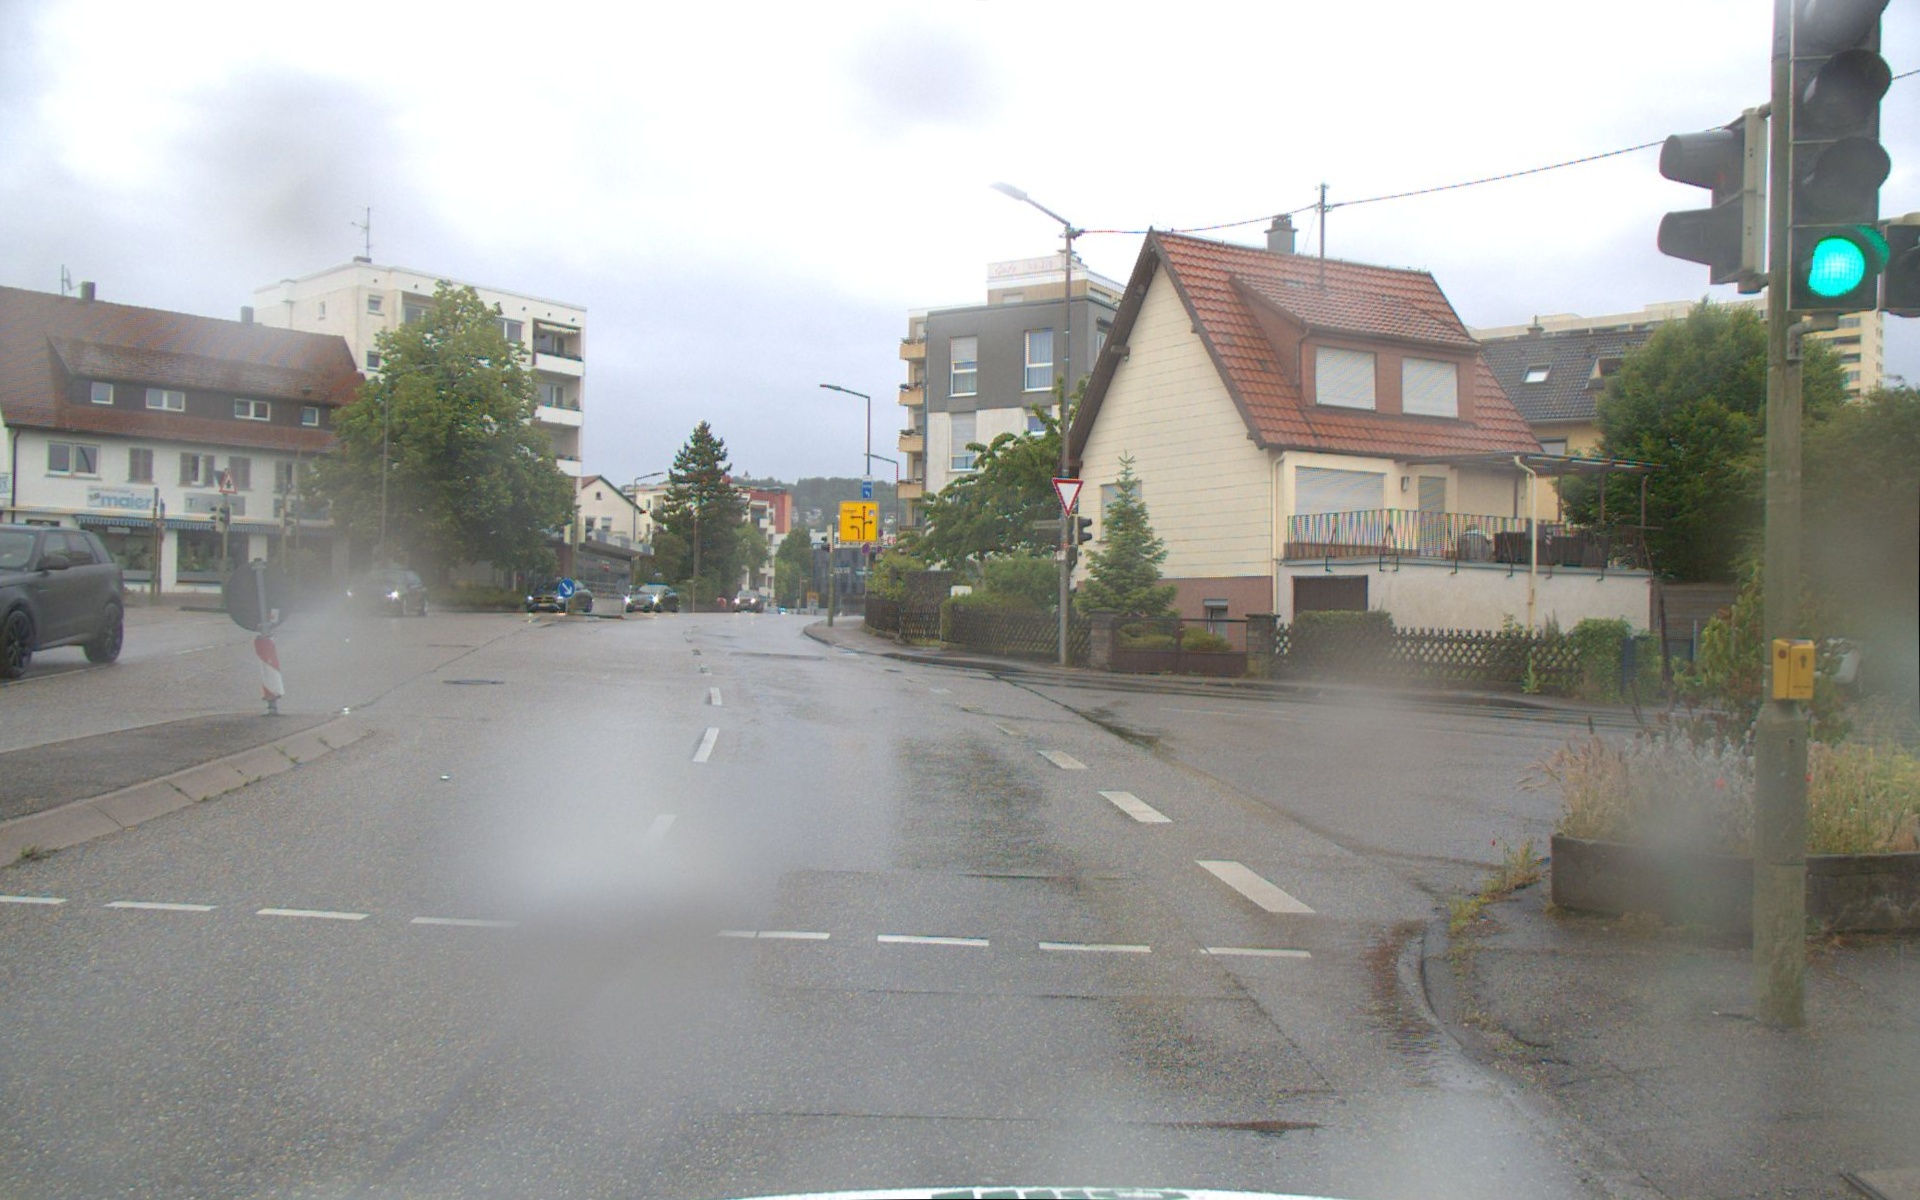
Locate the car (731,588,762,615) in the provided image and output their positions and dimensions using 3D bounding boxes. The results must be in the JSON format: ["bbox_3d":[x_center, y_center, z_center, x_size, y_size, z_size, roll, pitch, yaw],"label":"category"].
[{"bbox_3d":[-14.980,0.110,116.176,1.955,1.843,3.995,1,0,-5],"label":"car"}]

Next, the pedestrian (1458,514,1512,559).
[{"bbox_3d":[11.160,-1.350,35.182,0.902,0.898,0.632,1,-2,-20],"label":"pedestrian"}]

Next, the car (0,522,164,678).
[{"bbox_3d":[-12.145,-0.007,21.122,1.956,1.768,5.173,1,0,-7],"label":"car"}]

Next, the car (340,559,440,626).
[{"bbox_3d":[-17.388,-0.211,50.612,1.955,1.937,3.995,1,0,-5],"label":"car"}]

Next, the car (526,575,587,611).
[{"bbox_3d":[-17.480,-0.293,71.768,1.955,1.489,3.995,1,0,-5],"label":"car"}]

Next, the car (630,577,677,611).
[{"bbox_3d":[-15.705,-0.292,84.877,1.955,1.708,3.995,1,0,-5],"label":"car"}]

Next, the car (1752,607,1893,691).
[{"bbox_3d":[15.631,0.850,29.882,1.780,1.386,3.986,1,0,35],"label":"car"}]
